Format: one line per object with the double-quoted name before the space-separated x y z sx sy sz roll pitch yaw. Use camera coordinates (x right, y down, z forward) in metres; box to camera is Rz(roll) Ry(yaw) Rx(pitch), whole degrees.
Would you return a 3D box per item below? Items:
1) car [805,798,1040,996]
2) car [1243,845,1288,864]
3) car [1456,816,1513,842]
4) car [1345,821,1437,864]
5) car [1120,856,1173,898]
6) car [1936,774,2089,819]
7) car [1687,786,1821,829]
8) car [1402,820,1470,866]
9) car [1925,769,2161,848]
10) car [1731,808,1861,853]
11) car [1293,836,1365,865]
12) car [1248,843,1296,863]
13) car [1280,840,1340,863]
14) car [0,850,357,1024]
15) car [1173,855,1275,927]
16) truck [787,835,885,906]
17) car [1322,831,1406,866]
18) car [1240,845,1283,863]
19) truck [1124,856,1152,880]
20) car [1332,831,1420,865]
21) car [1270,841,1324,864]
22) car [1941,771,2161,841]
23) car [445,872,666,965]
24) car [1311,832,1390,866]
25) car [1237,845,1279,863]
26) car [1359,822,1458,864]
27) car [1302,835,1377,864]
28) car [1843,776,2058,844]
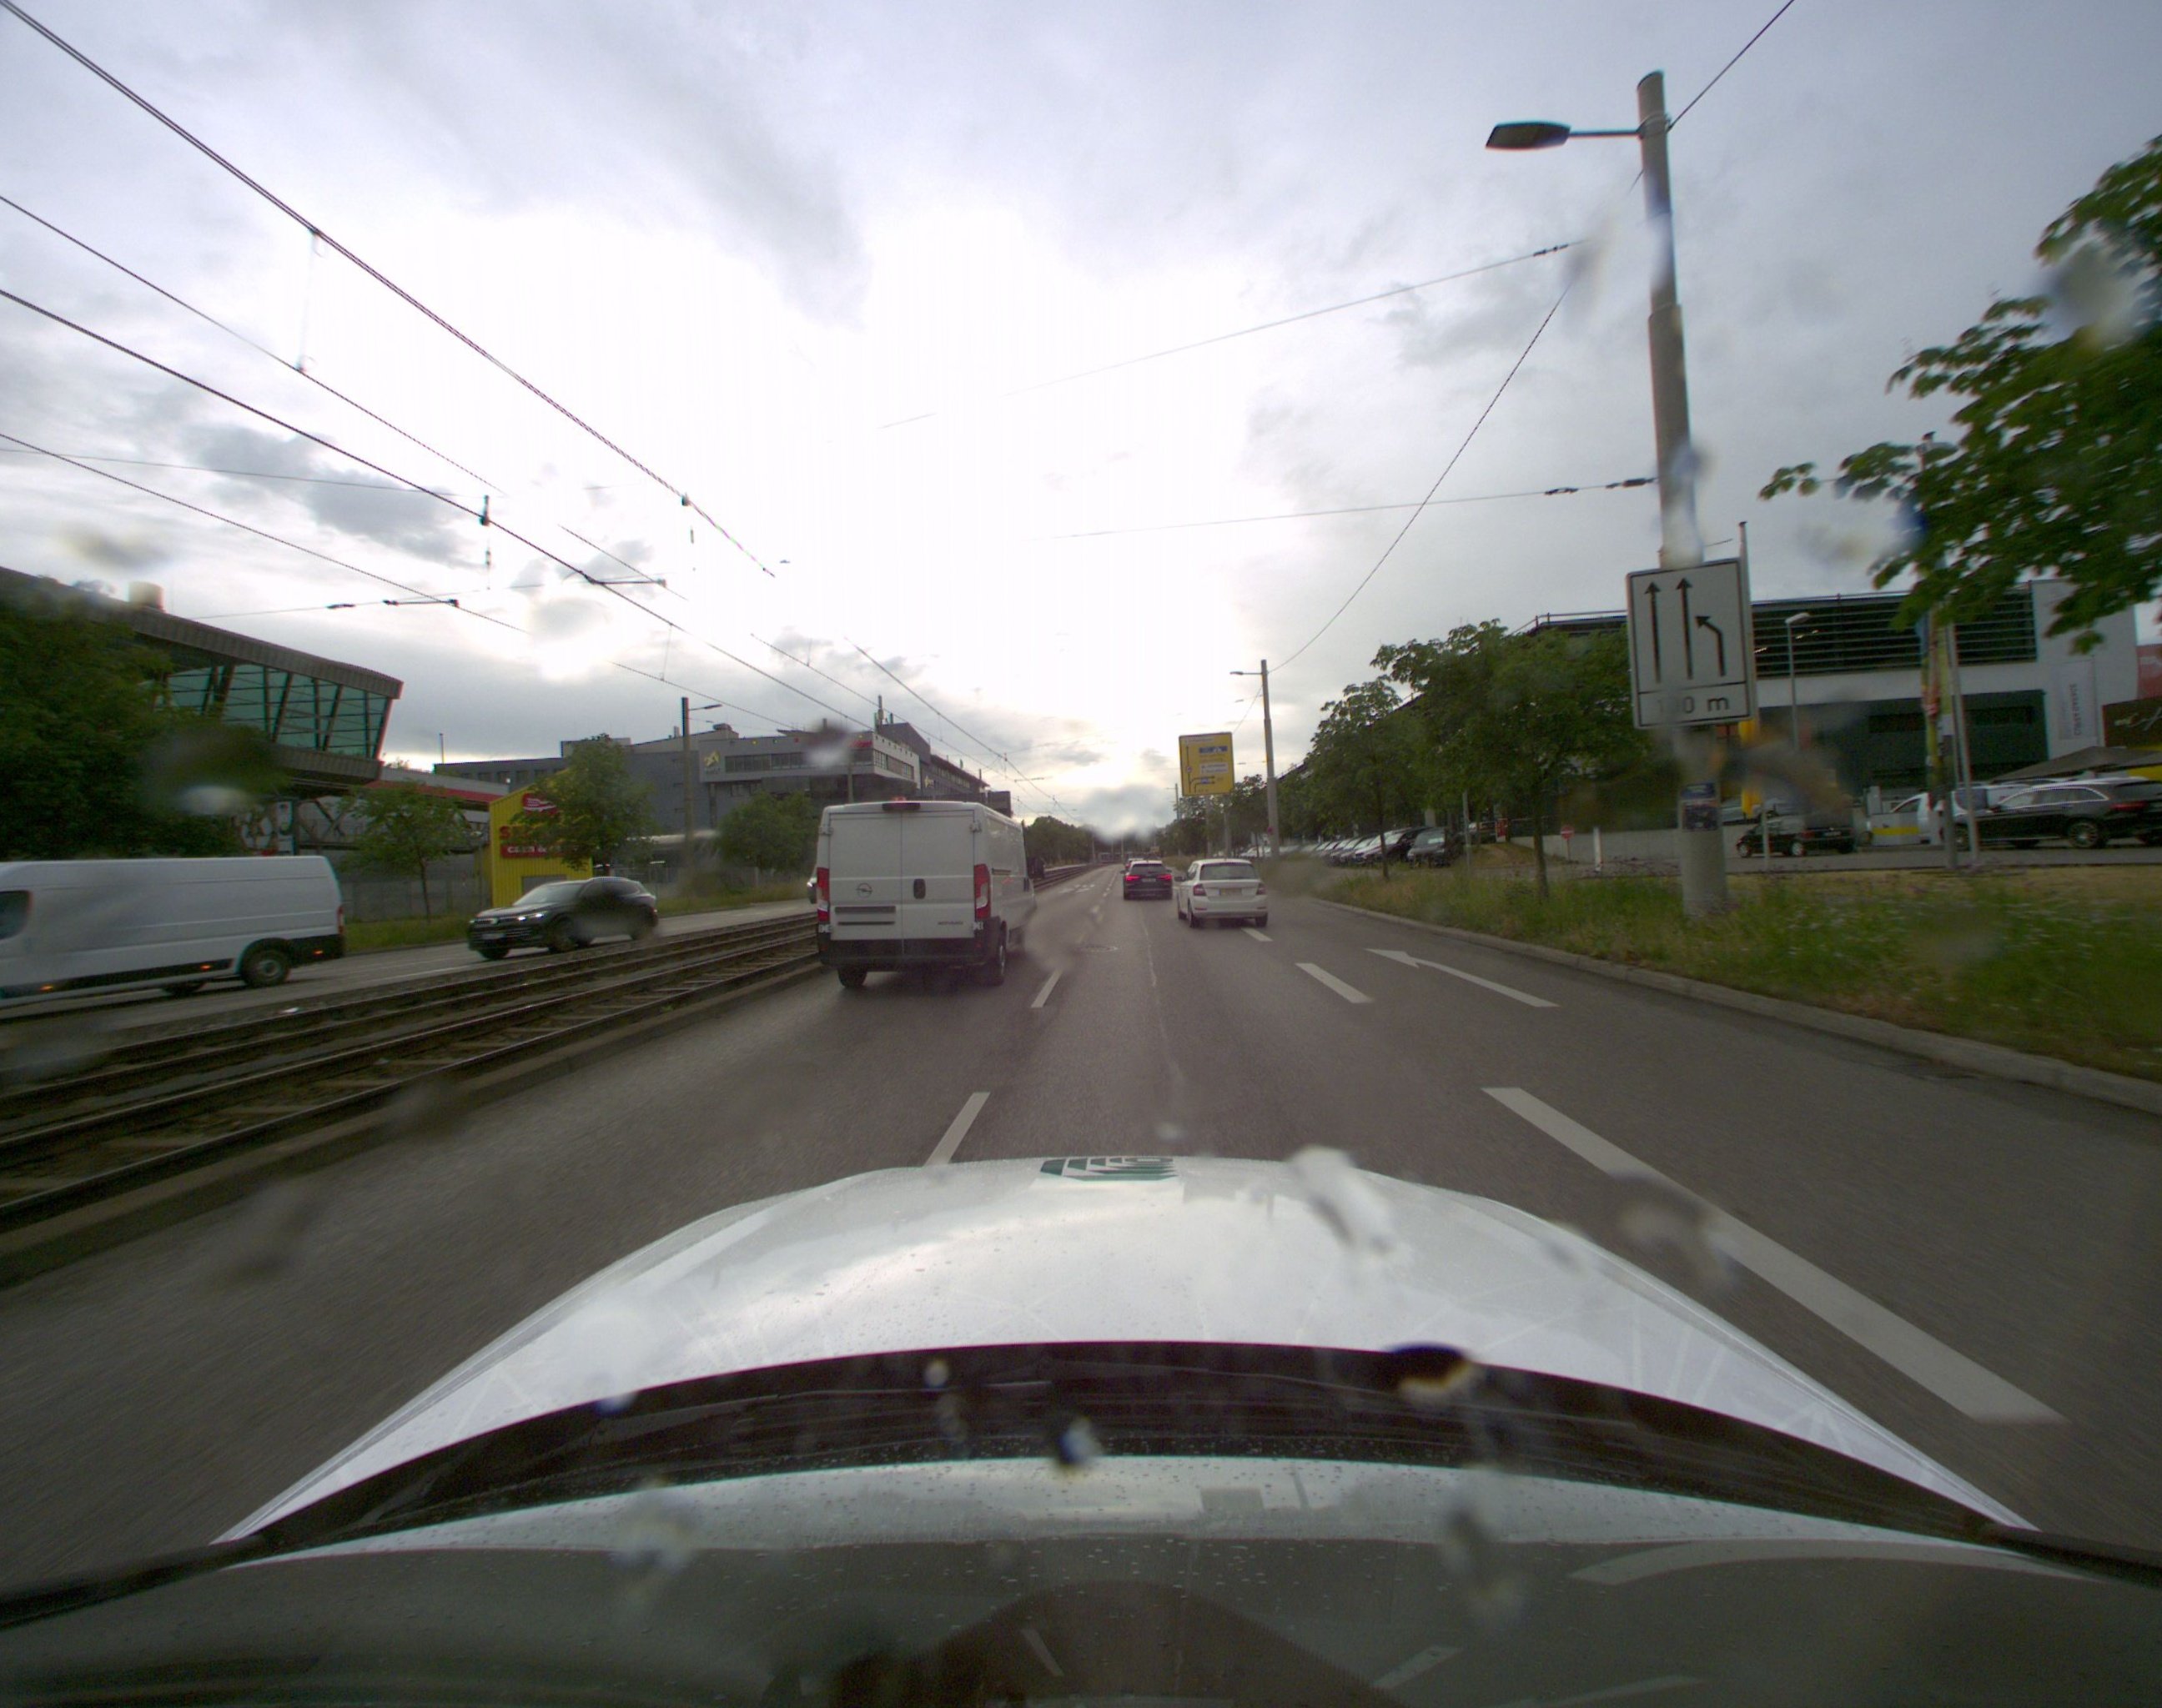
"car" -1.899 0.476 11.593 2.082 2.196 5.065 0 0 3
"car" 19.218 0.023 84.788 4.156 1.604 1.813 -5 -1 -22
"car" 26.057 -1.592 52.710 1.772 1.472 3.901 -3 0 2
"car" 17.181 -0.610 45.216 4.497 1.991 1.810 -5 -1 -18
"car" 2.410 0.813 30.751 1.782 1.449 4.002 -2 0 2
"car" 42.451 -2.590 37.228 1.850 1.644 4.274 -3 0 -30
"car" 30.603 -2.094 37.159 1.850 1.644 4.274 -3 0 -30
"car" 16.871 -0.559 38.626 1.854 1.815 4.420 -5 1 37
"car" 25.385 -1.095 21.199 1.986 1.736 4.718 -2 0 1
"car" 24.108 -0.743 27.617 1.386 1.338 3.490 -2 0 1
"car" 17.708 -0.260 58.249 4.484 1.663 1.816 -5 -1 -9
"car" 18.542 -0.095 79.041 4.154 1.569 1.896 -5 -1 -20
"car" 17.813 -0.186 63.443 4.043 1.501 1.682 -5 -1 -9
"car" -16.548 1.298 13.509 2.418 2.500 6.564 -5 0 9
"car" 3.149 0.765 18.590 1.740 1.457 3.671 -1 0 1
"truck" -13.272 0.827 44.837 2.717 3.357 7.156 -5 0 2
"car" 17.414 -0.317 50.204 4.484 1.752 1.815 -5 -1 -9
"car" 19.468 0.041 87.706 4.158 1.562 1.855 -5 -1 -24
"truck" 4.604 1.086 66.493 1.986 1.790 4.415 -3 0 1
"car" 17.219 -0.347 47.622 4.488 1.637 1.814 -5 -1 -12
"car" 18.121 -0.151 68.331 4.054 1.576 1.723 -5 -1 -17
"car" 30.985 -1.445 26.070 1.986 1.860 4.719 -2 0 2
"car" -11.972 1.374 18.996 1.899 1.657 4.367 -5 0 5
"car" 17.542 -0.299 53.059 4.484 1.795 1.815 -5 -1 -9
"car" 19.699 0.034 90.599 4.344 1.612 1.853 -5 -1 -26
"car" 16.998 -0.539 42.387 4.379 1.789 1.871 -5 -1 -11
"car" 17.657 -0.277 55.803 4.480 1.619 1.817 -5 -1 -6
"car" 27.953 -1.321 26.473 1.986 1.860 4.718 -2 0 1
